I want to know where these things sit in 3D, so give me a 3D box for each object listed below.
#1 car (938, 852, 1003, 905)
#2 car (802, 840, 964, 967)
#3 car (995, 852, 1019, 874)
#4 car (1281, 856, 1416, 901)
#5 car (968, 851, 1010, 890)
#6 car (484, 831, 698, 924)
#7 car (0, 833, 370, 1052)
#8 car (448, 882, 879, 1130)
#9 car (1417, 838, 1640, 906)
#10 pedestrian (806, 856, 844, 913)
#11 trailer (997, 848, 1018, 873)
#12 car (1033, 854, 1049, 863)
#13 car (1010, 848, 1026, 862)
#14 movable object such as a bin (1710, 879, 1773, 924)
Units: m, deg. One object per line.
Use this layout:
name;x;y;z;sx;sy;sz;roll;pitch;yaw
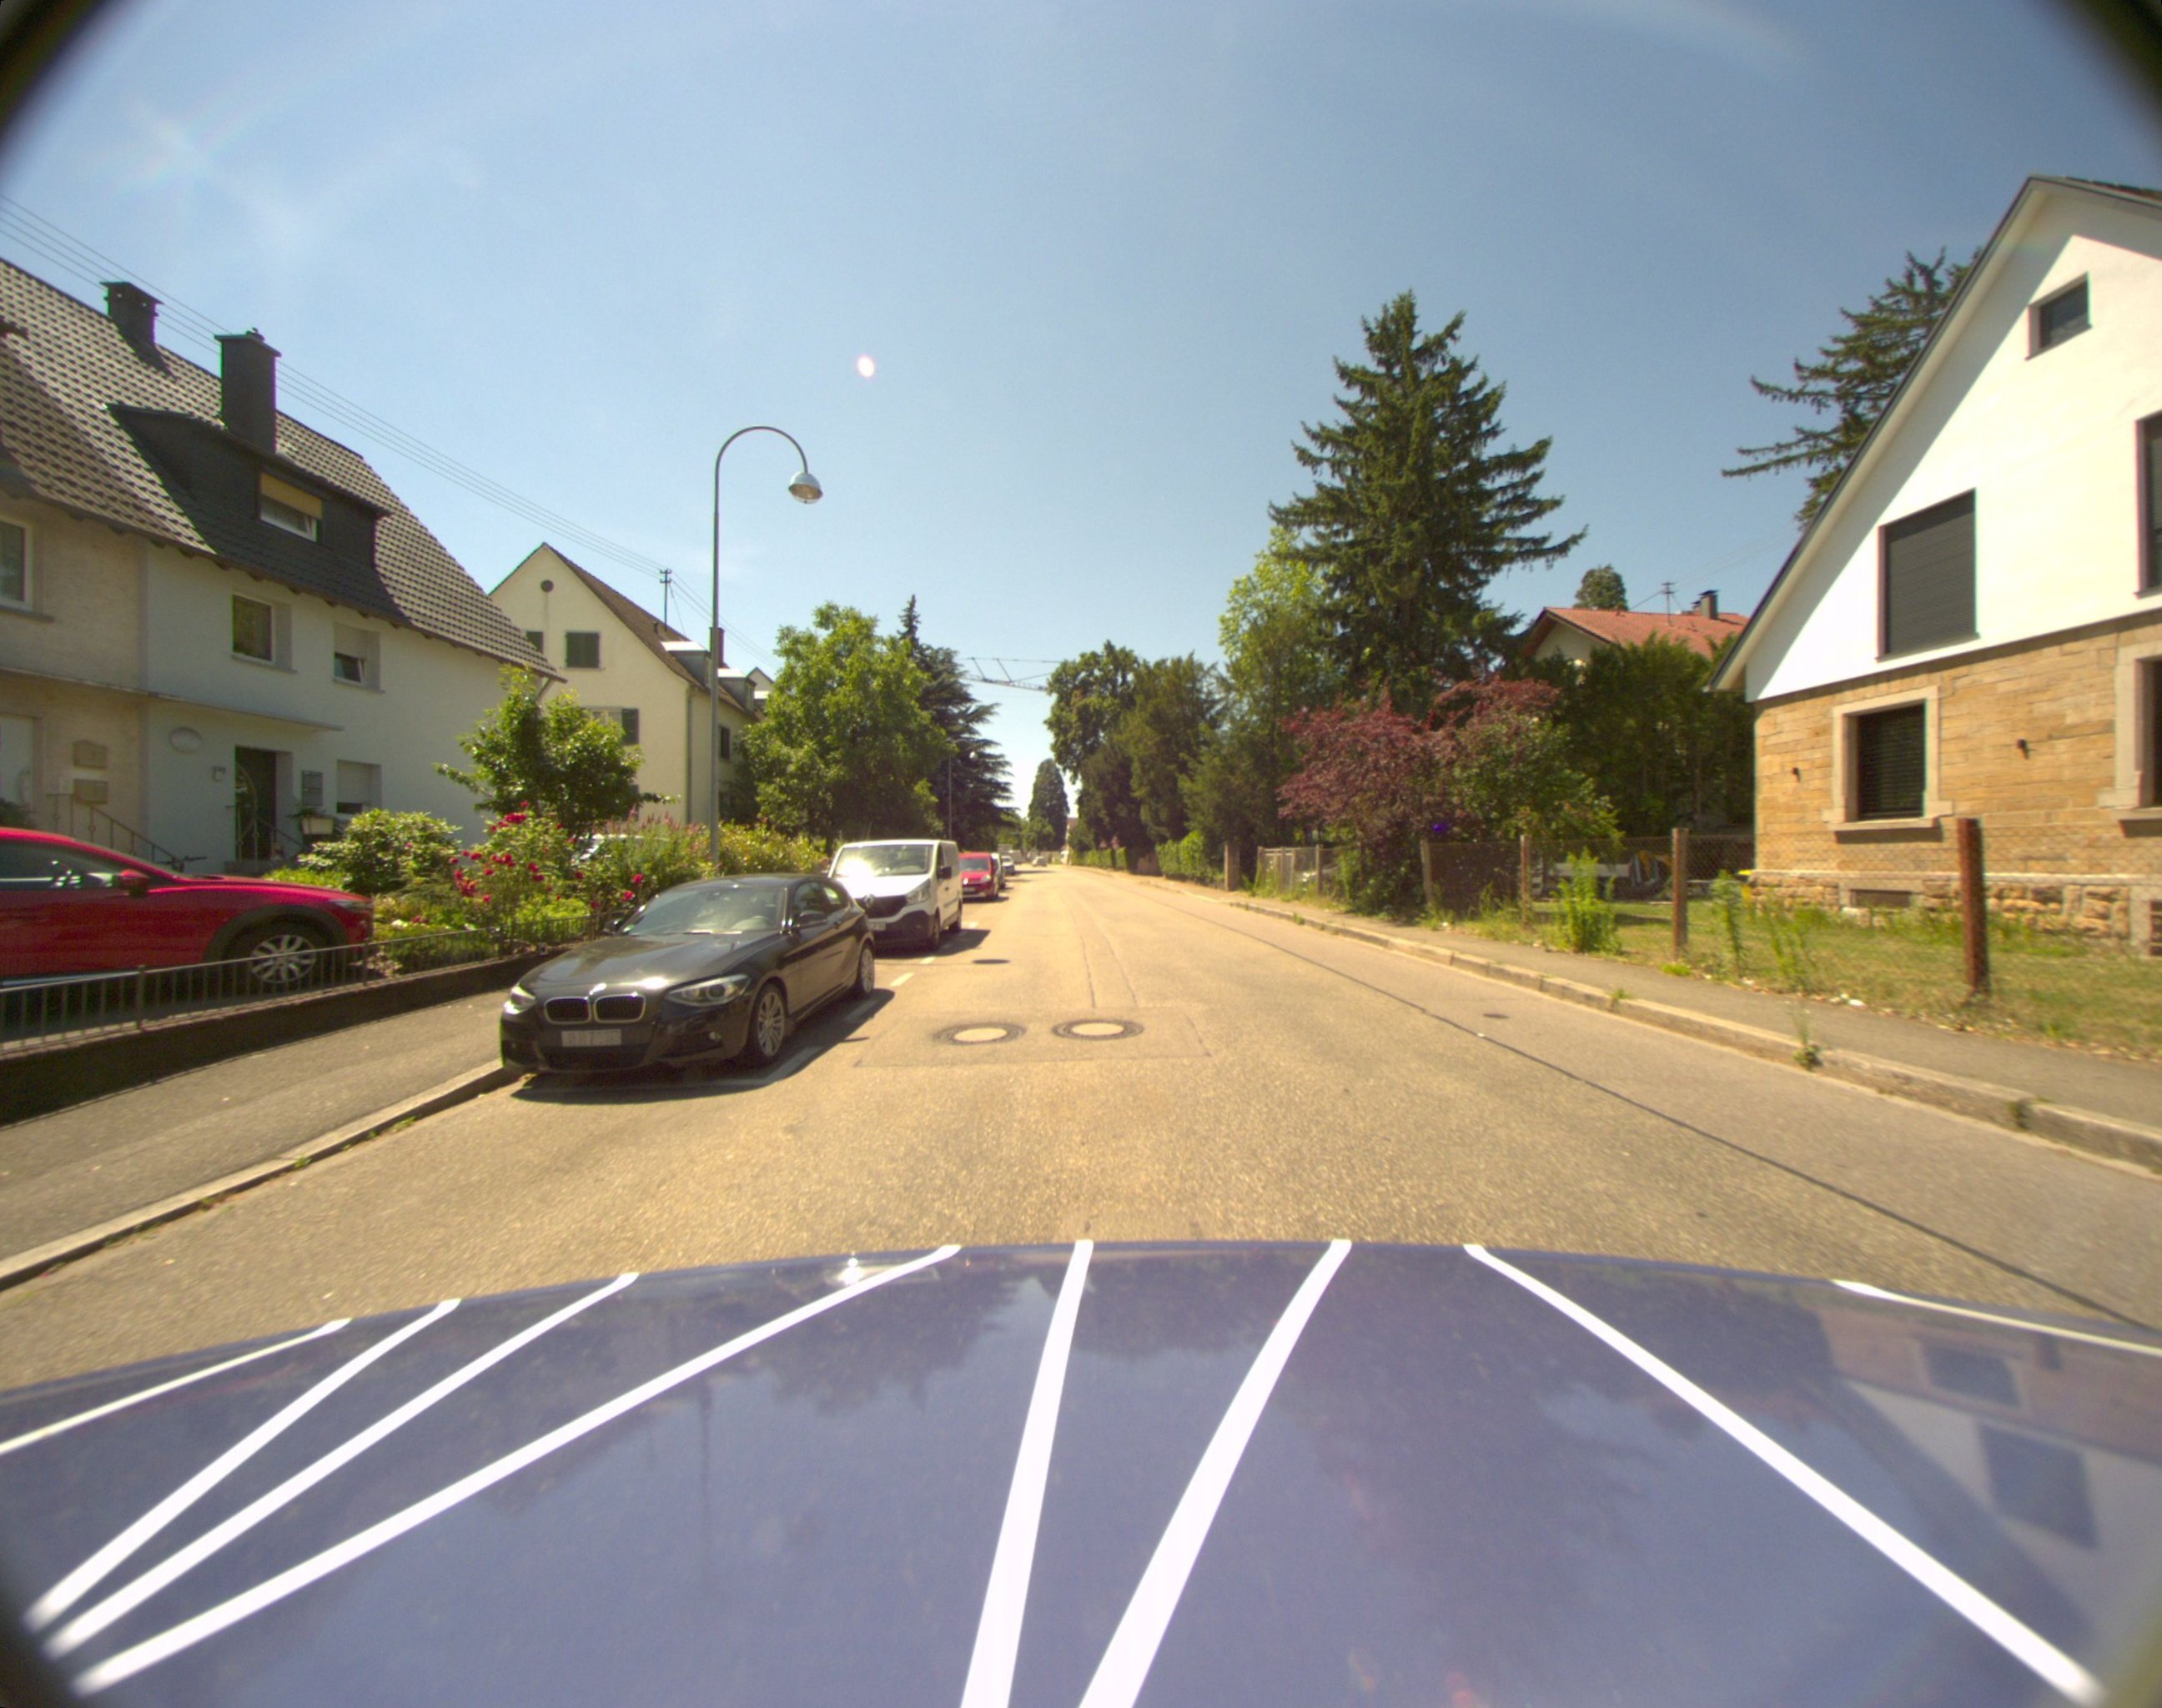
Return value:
car;-3.934;0.813;27.714;1.908;1.718;4.390;-2;0;-3
car;-3.411;0.768;14.068;1.908;1.913;4.717;-1;0;-3
car;-6.043;0.730;62.091;1.777;1.622;4.602;-2;0;-6
car;9.255;0.830;26.554;3.997;1.416;1.969;1;0;1
car;-4.541;0.763;38.032;1.751;1.772;4.541;-2;0;-4
car;-11.111;0.522;17.702;1.748;1.845;4.402;2;-1;6
car;-8.659;0.651;5.987;1.740;1.526;4.056;3;4;24
car;-3.154;1.028;6.787;1.660;1.390;4.000;-1;0;-1
car;15.800;0.636;27.034;6.681;2.159;2.401;1;0;-6
pedestrian;-7.060;0.825;20.987;0.790;1.508;0.708;2;0;-2
trailer;-6.542;0.506;67.775;1.685;2.056;3.705;-2;2;-6
car;-5.911;0.670;111.943;1.871;1.375;4.600;1;0;-10
car;-11.406;0.134;137.319;2.001;2.518;5.886;-1;0;-15
movable object such as a bin;12.789;0.909;14.730;0.567;0.823;0.723;-2;0;1
